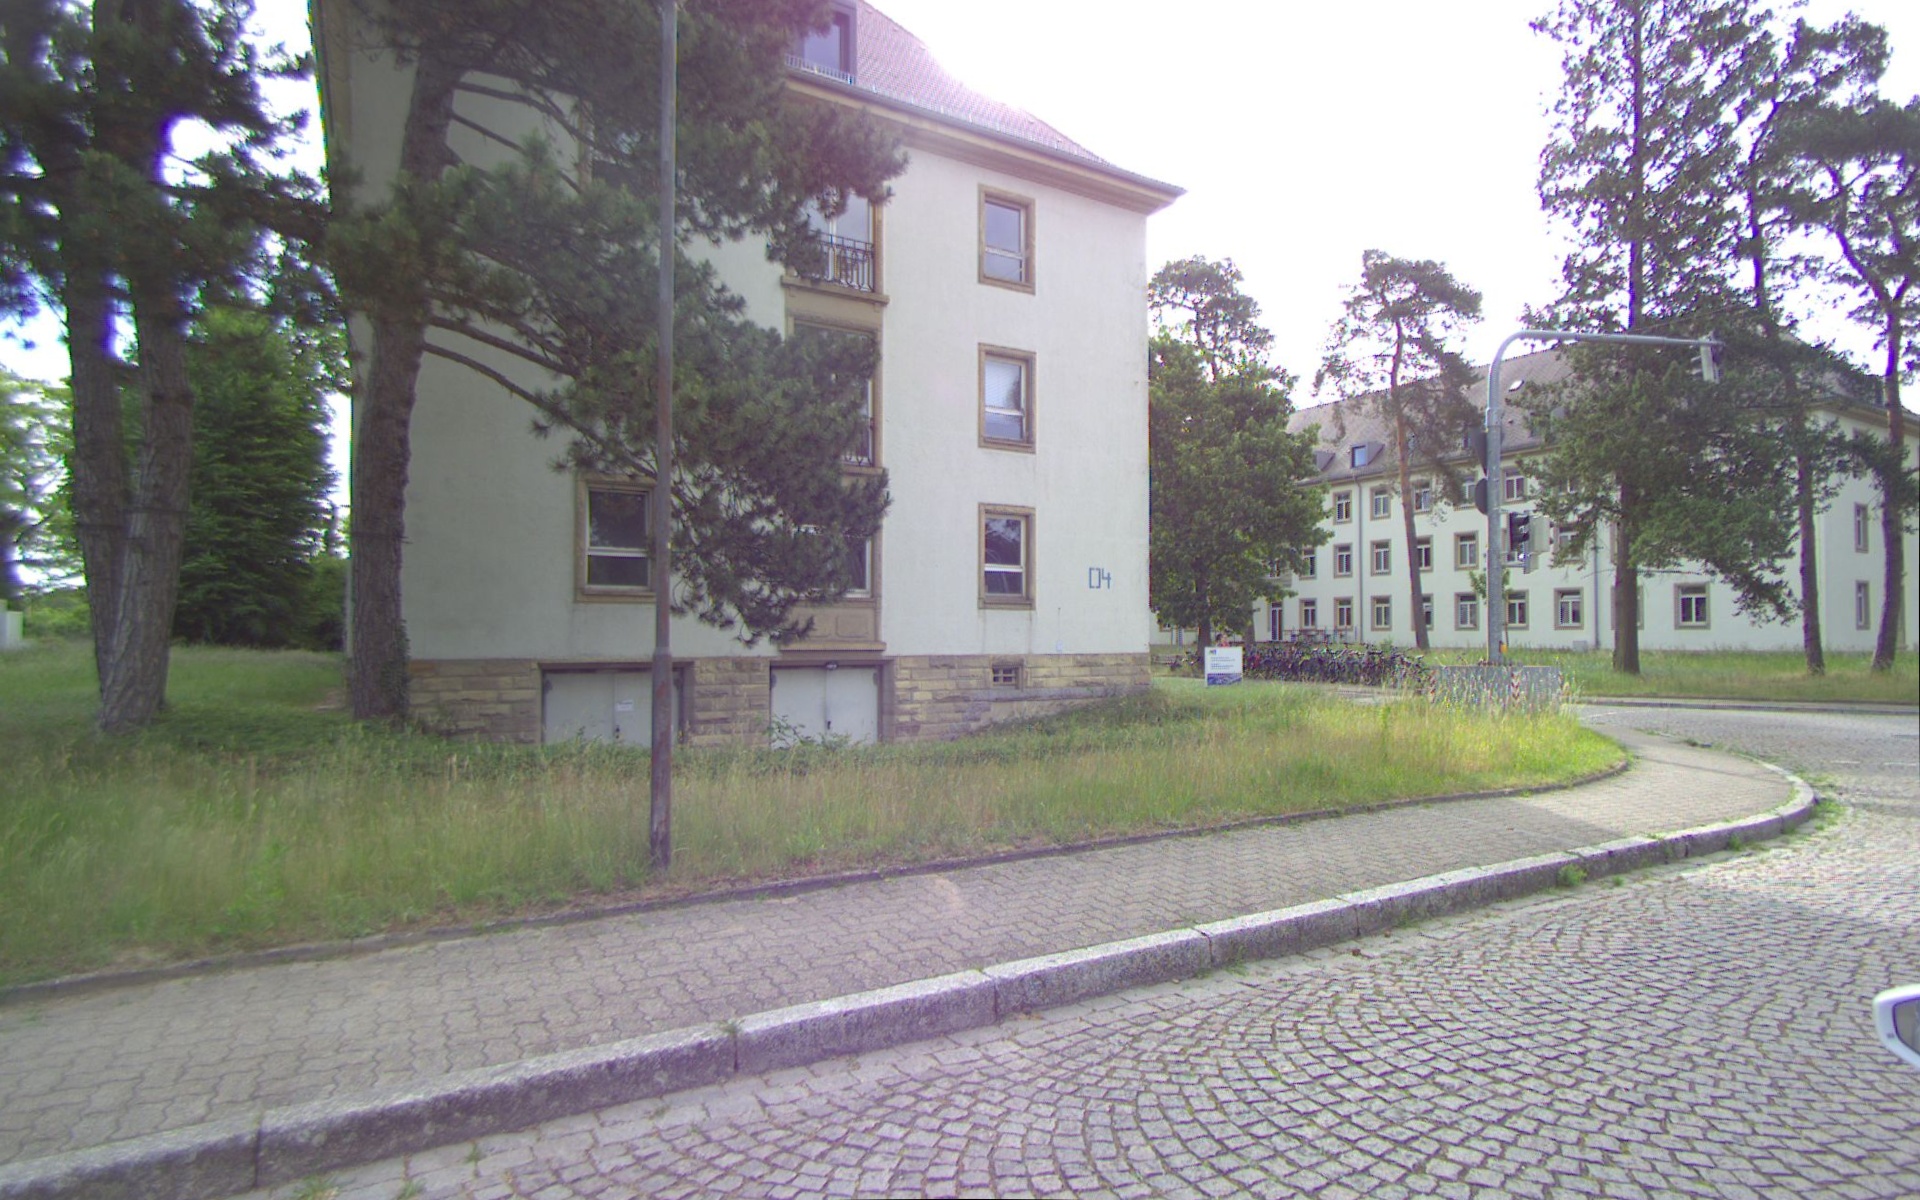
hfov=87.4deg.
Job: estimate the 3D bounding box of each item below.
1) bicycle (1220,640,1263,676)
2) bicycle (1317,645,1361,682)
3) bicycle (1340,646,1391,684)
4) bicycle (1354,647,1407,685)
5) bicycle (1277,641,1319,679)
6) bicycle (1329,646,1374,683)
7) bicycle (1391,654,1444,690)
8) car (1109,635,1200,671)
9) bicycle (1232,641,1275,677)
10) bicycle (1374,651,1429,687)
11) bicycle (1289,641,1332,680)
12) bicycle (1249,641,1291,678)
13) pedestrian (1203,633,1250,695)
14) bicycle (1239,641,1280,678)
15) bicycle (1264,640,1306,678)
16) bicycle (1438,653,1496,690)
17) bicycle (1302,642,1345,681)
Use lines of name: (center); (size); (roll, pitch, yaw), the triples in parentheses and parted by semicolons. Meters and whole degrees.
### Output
bicycle: (10.443, 2.147, 37.245); (1.807, 1.300, 0.446); (1, -2, -32)
bicycle: (12.620, 2.105, 33.452); (1.677, 1.193, 0.446); (1, -2, -32)
bicycle: (13.185, 2.098, 32.630); (1.909, 1.193, 0.524); (1, -2, -32)
bicycle: (13.446, 2.091, 32.106); (1.932, 1.193, 0.572); (1, -2, -32)
bicycle: (11.769, 2.068, 34.959); (1.677, 1.300, 0.446); (1, -2, -32)
bicycle: (12.881, 2.114, 33.043); (1.677, 1.193, 0.446); (1, -2, -32)
bicycle: (13.405, 2.099, 29.468); (0.447, 1.009, 1.453); (1, -2, -29)
car: (8.817, 2.381, 45.481); (3.852, 1.576, 1.831); (1, -2, -31)
bicycle: (10.787, 2.143, 36.914); (1.765, 1.300, 0.440); (1, -2, -32)
bicycle: (13.867, 2.156, 31.551); (1.974, 1.092, 0.572); (1, -2, -32)
bicycle: (12.064, 2.065, 34.537); (1.677, 1.300, 0.446); (1, -2, -32)
bicycle: (11.111, 2.132, 35.992); (1.677, 1.300, 0.446); (1, -2, -32)
pedestrian: (7.401, 1.765, 27.917); (0.930, 1.690, 0.854); (1, -2, -33)
bicycle: (10.857, 2.136, 36.406); (1.677, 1.300, 0.446); (1, -2, -32)
bicycle: (11.467, 2.073, 35.433); (1.677, 1.300, 0.446); (1, -2, -32)
bicycle: (14.190, 1.992, 28.164); (0.447, 1.009, 1.453); (1, -2, -29)
bicycle: (12.352, 2.061, 34.123); (1.677, 1.300, 0.446); (1, -2, -32)
